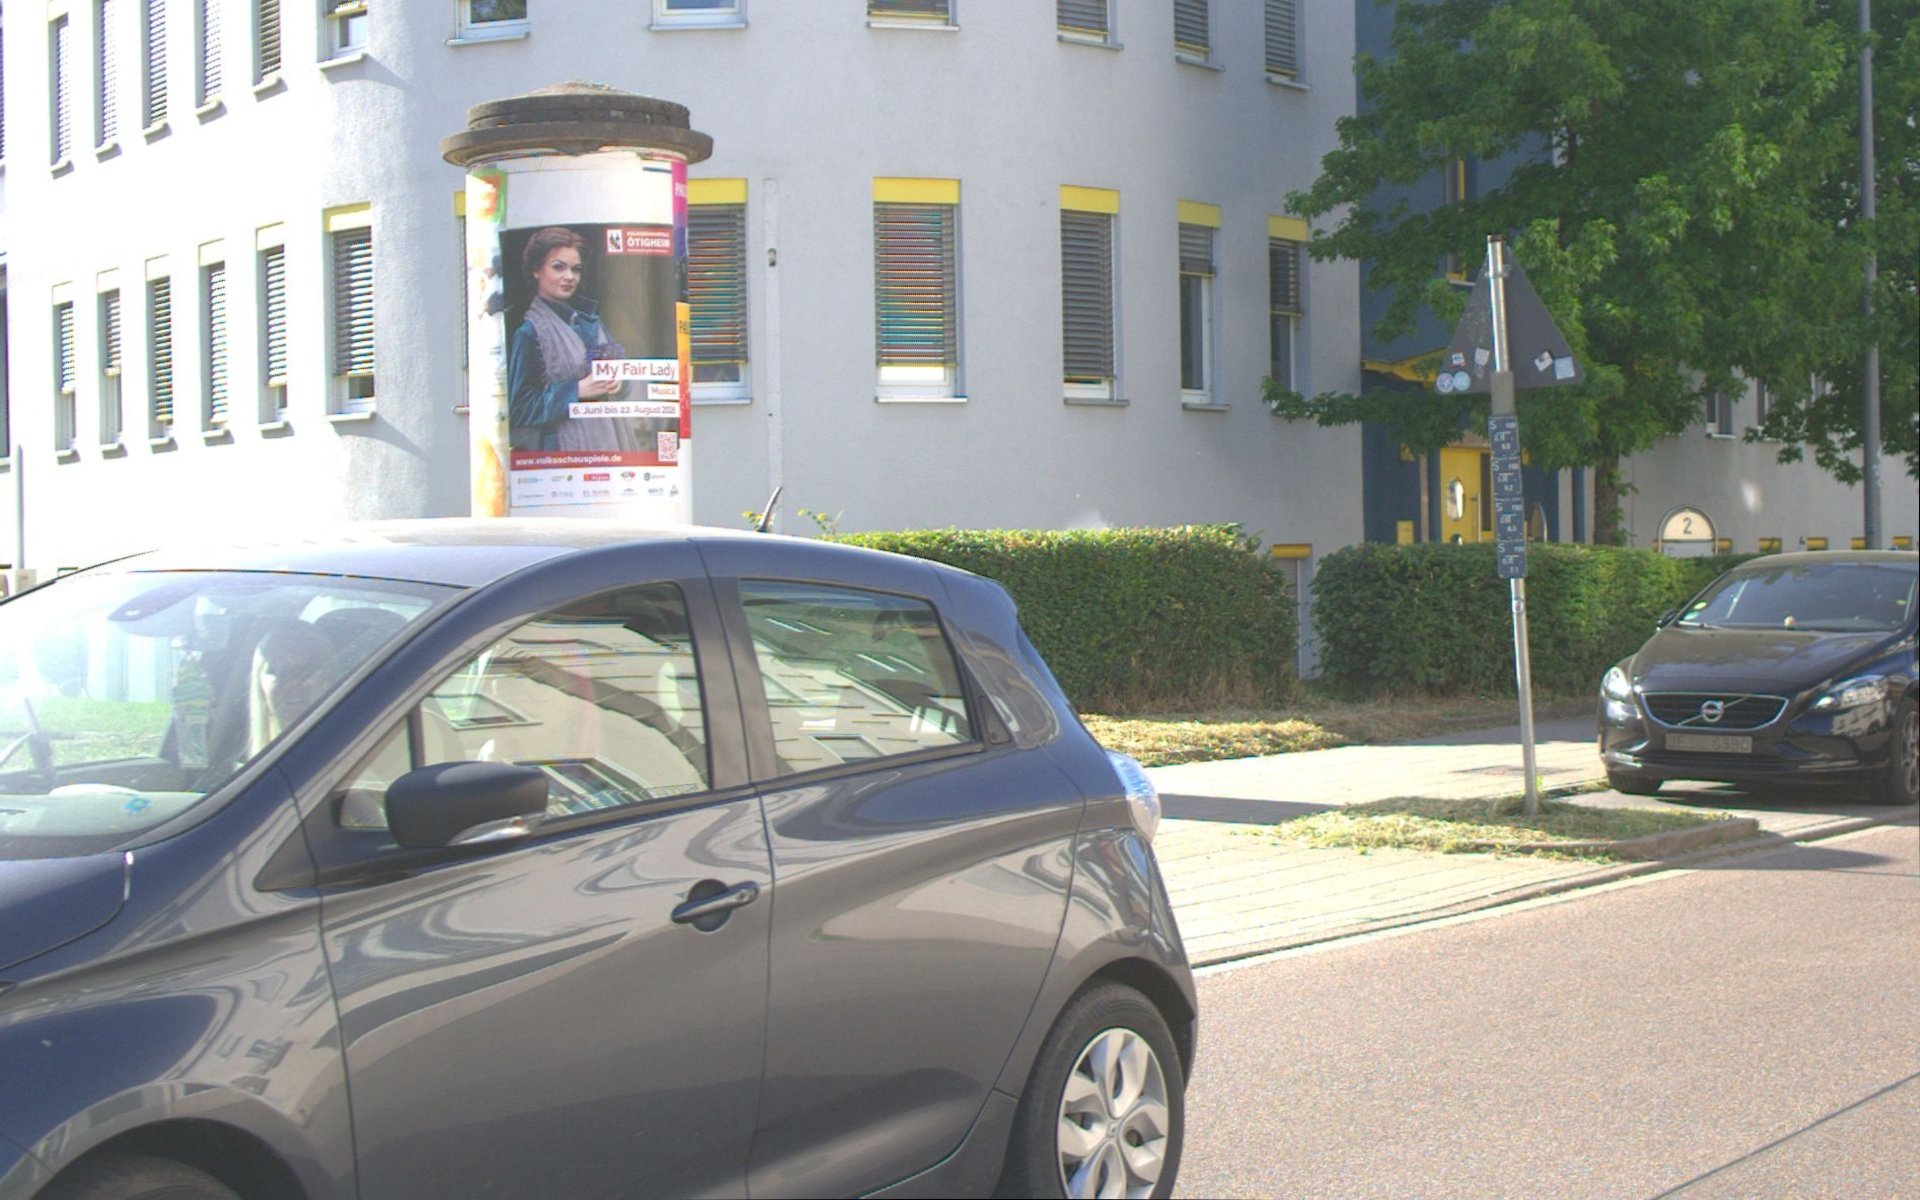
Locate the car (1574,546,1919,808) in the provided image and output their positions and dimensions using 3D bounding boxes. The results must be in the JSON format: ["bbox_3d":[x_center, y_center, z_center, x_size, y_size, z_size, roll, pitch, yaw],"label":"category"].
[{"bbox_3d":[5.382,0.381,20.947,1.792,1.405,4.216,0,1,32],"label":"car"}]

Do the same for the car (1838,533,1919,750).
[{"bbox_3d":[8.021,0.264,25.049,1.912,1.474,4.372,0,1,32],"label":"car"}]

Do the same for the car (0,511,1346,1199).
[{"bbox_3d":[-1.066,0.638,6.340,1.840,1.499,4.130,0,0,34],"label":"car"}]
